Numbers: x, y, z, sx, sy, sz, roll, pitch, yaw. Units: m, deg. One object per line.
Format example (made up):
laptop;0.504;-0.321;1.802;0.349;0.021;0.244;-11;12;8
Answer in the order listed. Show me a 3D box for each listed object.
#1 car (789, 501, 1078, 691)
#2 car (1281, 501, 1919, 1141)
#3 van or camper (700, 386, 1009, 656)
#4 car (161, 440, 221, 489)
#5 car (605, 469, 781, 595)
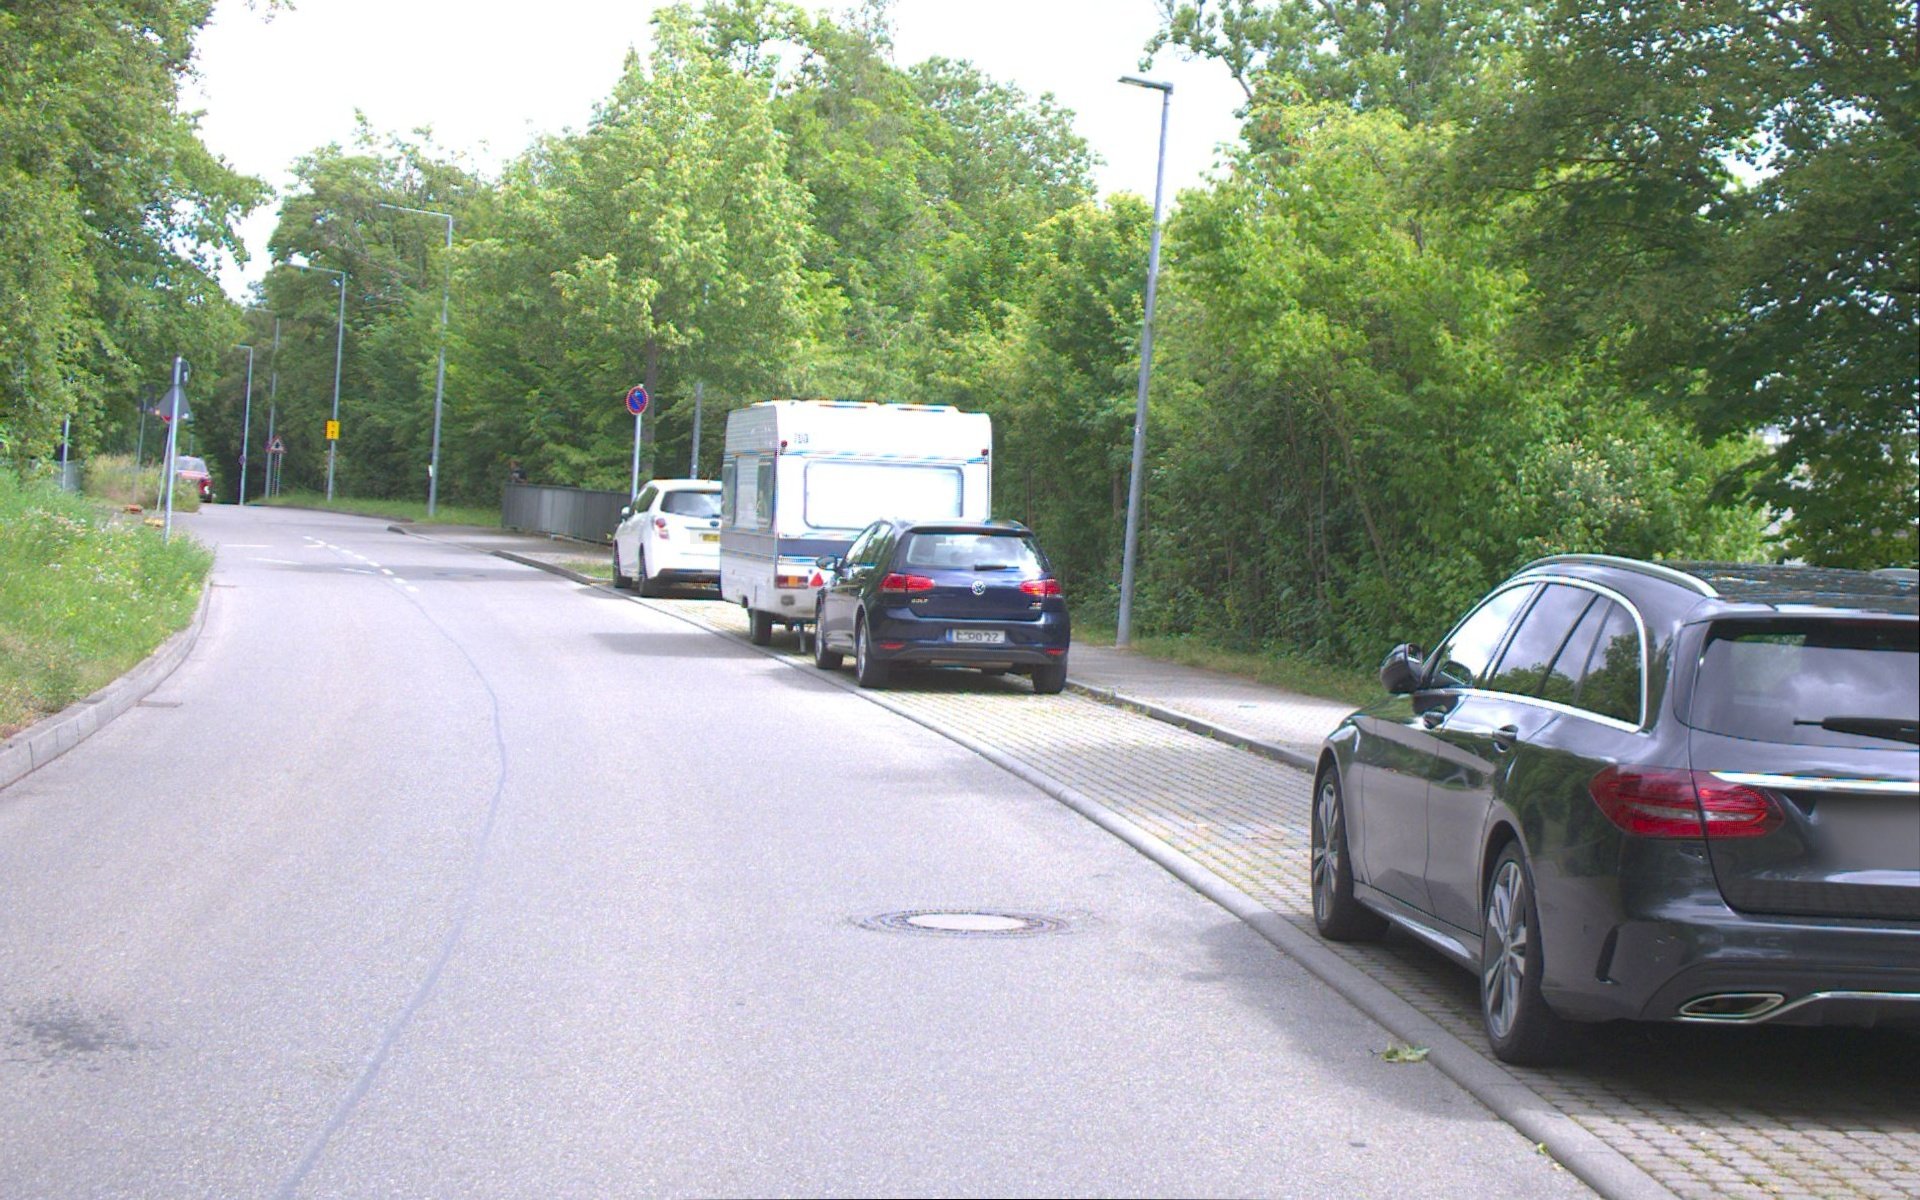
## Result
car;-0.322;-0.091;30.420;1.681;1.446;4.482;3;2;-11
car;2.344;0.519;10.905;1.893;1.524;4.547;3;2;-3
van or camper;-1.206;-0.853;35.950;2.354;2.545;5.076;2;2;-11
car;-28.183;-4.975;125.891;1.842;1.653;4.223;3;2;-16
car;-3.825;-0.990;48.564;1.804;1.594;4.374;2;2;-13
